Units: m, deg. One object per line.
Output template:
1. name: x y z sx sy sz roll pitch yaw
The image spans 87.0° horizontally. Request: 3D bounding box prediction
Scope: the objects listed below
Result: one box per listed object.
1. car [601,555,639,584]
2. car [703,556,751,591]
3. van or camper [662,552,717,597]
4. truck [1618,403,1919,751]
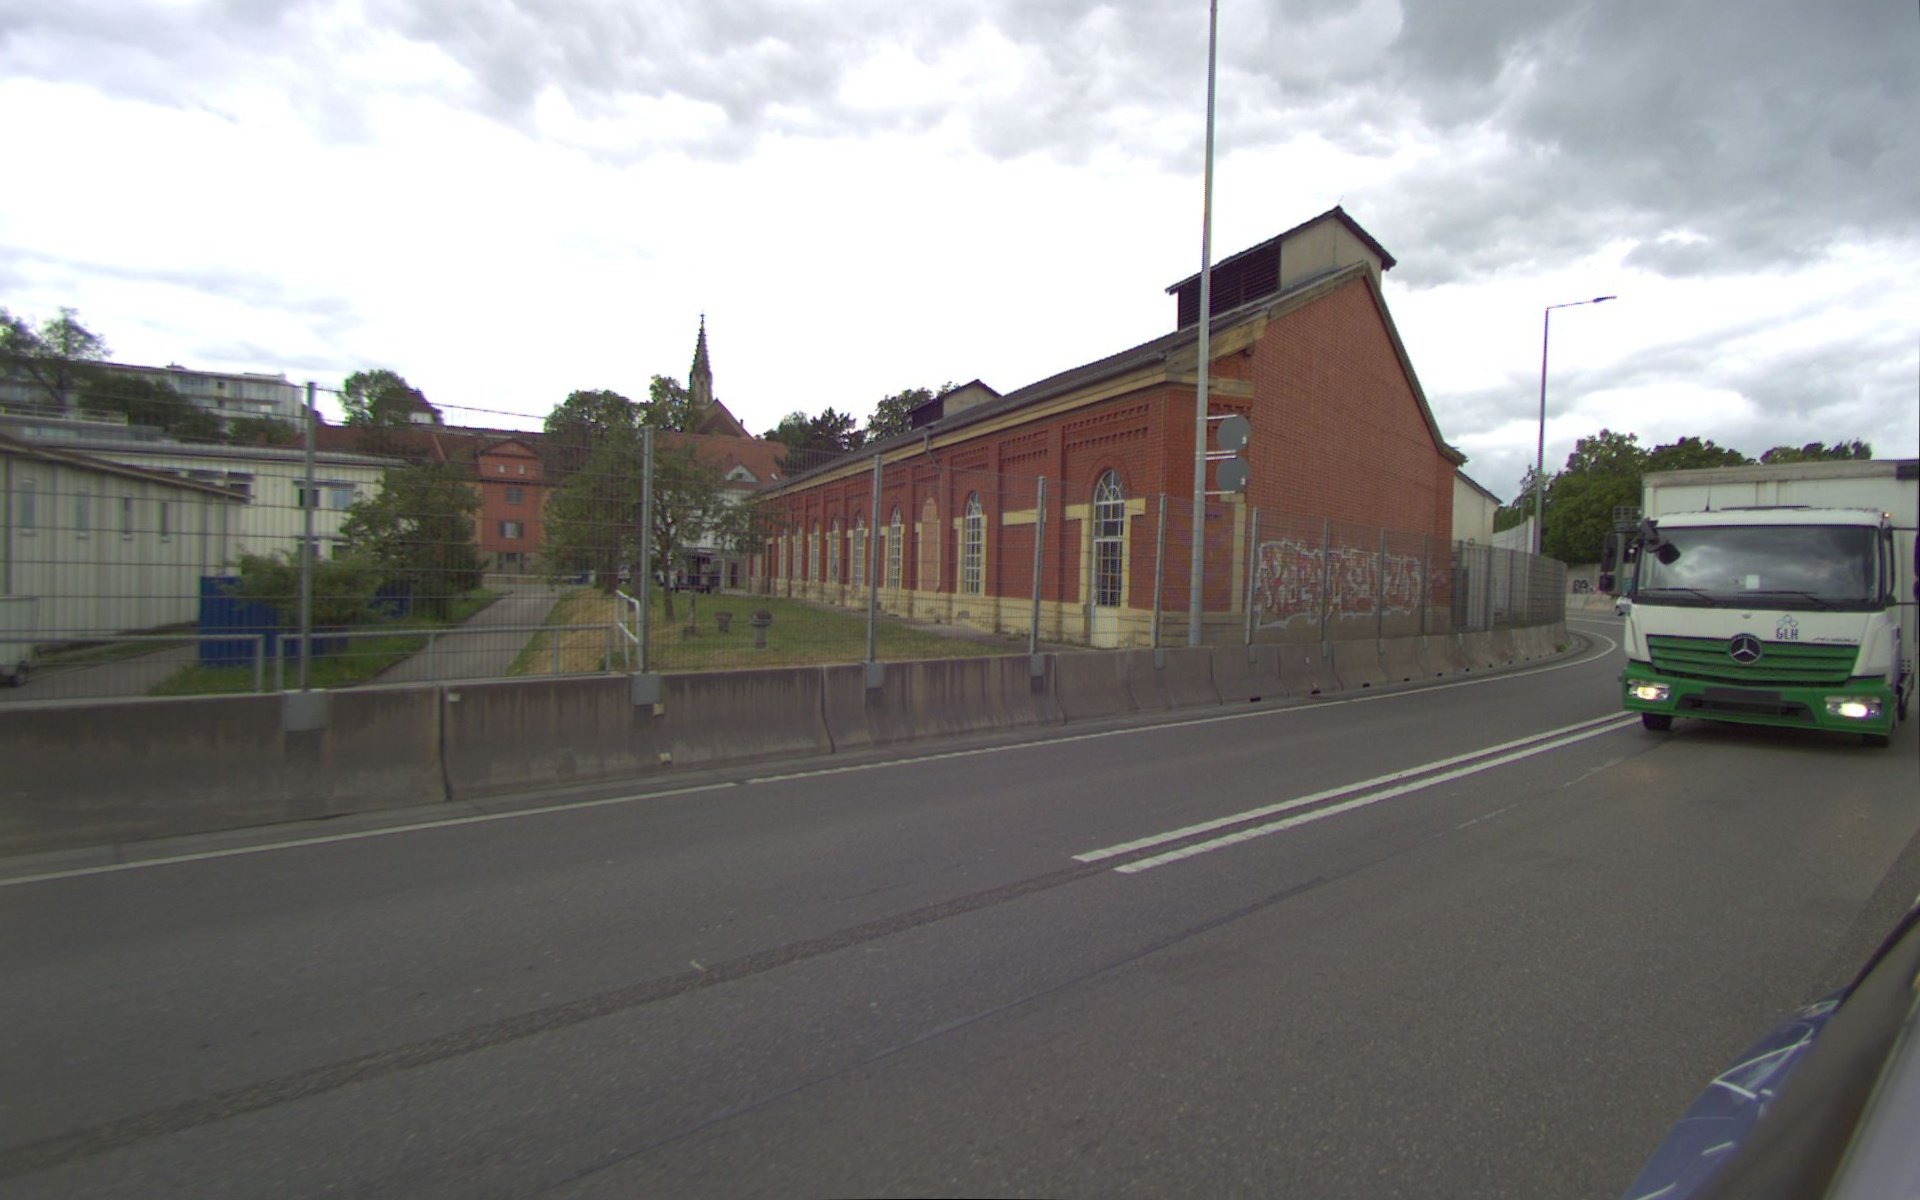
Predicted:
1. car: -22.062 -1.963 65.599 1.958 1.805 4.008 0 1 -24
2. car: -12.627 -1.423 54.743 1.958 1.805 4.009 0 1 -21
3. van or camper: -13.676 -1.282 50.957 1.958 2.172 4.579 0 1 -24
4. truck: 10.820 -0.231 12.923 2.631 3.280 7.296 1 0 45
